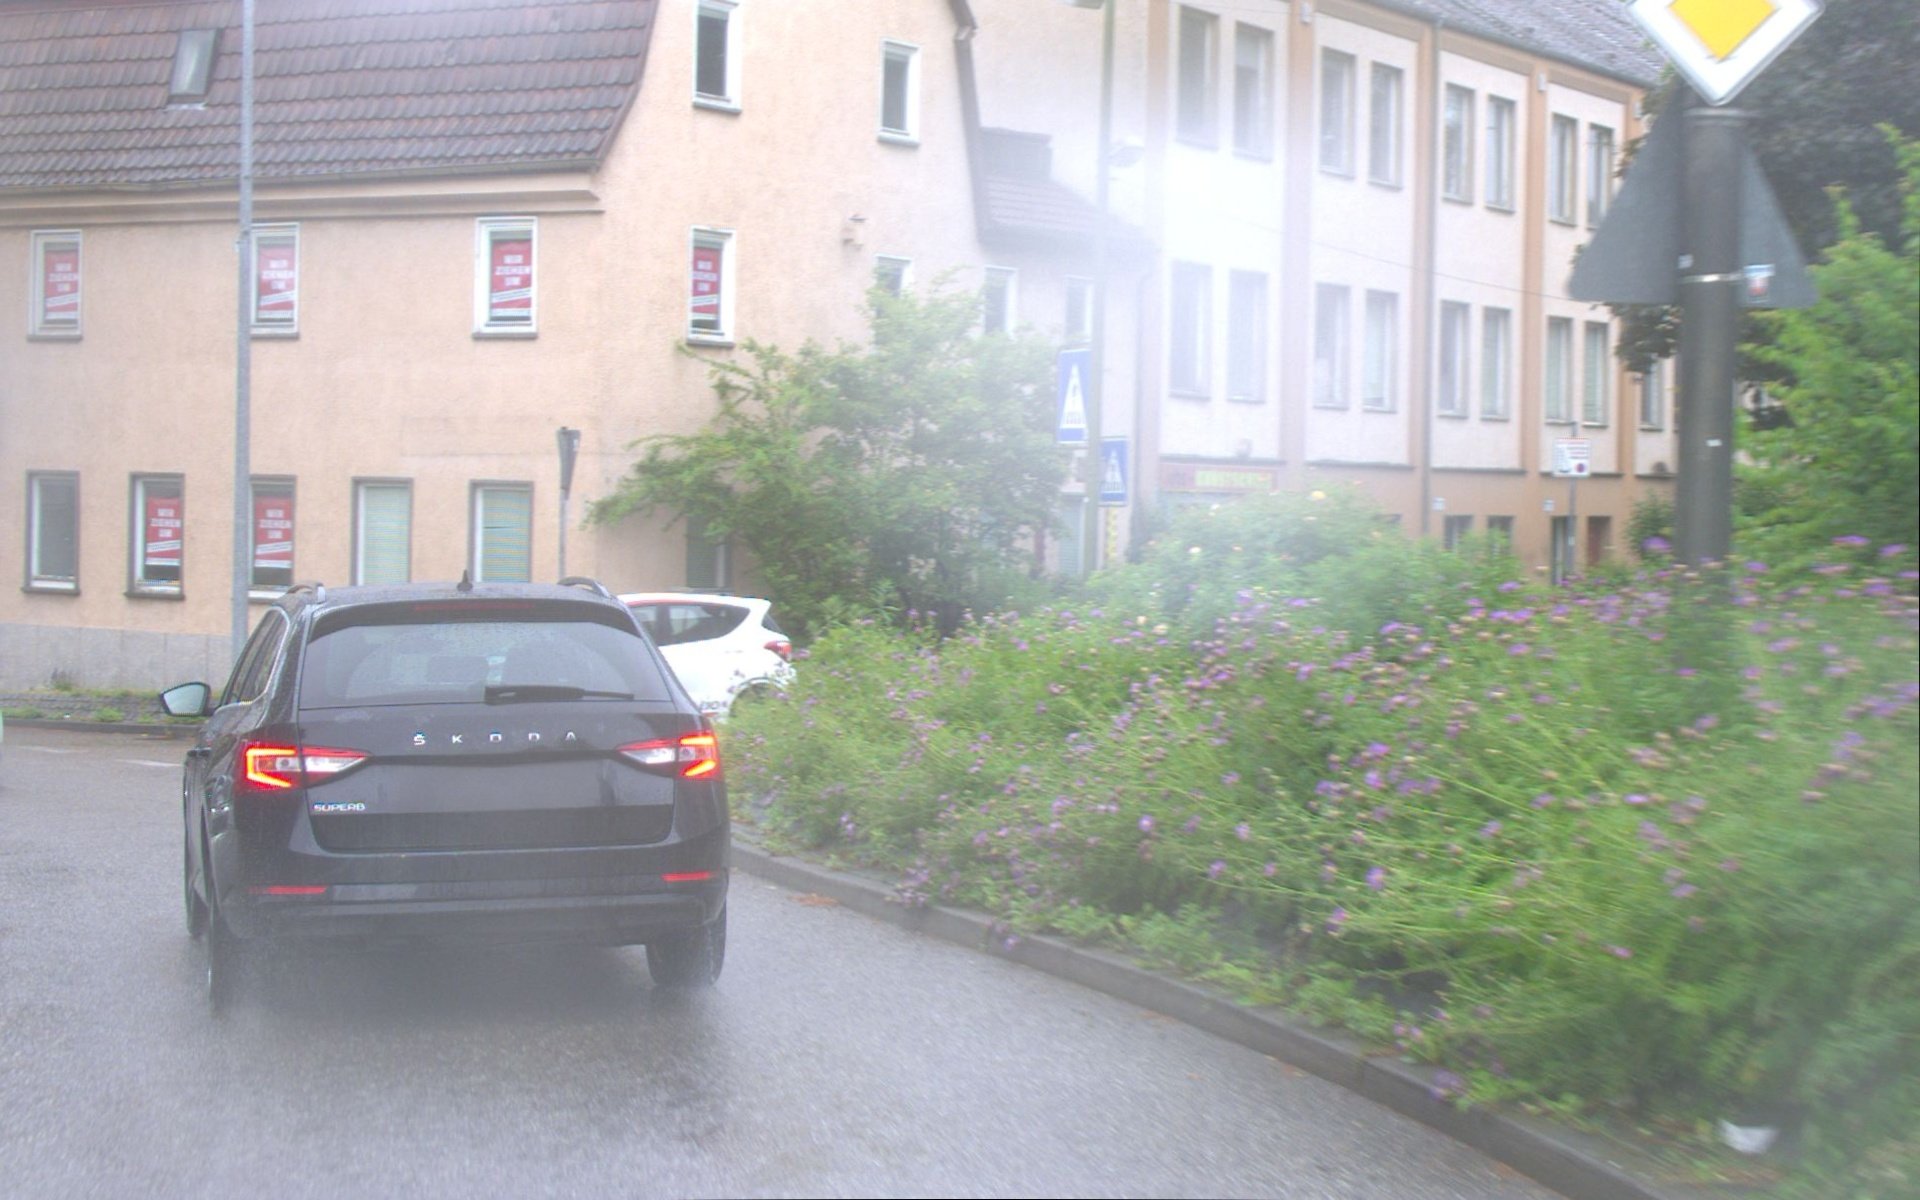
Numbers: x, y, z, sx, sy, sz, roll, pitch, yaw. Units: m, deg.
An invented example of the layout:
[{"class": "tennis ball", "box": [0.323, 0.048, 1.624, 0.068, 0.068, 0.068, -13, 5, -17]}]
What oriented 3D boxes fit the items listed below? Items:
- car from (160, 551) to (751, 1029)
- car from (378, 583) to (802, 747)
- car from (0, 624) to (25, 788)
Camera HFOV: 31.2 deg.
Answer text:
[{"class": "car", "box": [-2.105, 0.617, 13.265, 1.781, 1.478, 4.247, -2, 0, -14]}, {"class": "car", "box": [-3.589, 0.590, 33.294, 3.750, 1.448, 1.713, -1, 1, -21]}, {"class": "car", "box": [-9.765, 0.831, 30.108, 1.818, 1.355, 3.989, 1, 1, -34]}]
